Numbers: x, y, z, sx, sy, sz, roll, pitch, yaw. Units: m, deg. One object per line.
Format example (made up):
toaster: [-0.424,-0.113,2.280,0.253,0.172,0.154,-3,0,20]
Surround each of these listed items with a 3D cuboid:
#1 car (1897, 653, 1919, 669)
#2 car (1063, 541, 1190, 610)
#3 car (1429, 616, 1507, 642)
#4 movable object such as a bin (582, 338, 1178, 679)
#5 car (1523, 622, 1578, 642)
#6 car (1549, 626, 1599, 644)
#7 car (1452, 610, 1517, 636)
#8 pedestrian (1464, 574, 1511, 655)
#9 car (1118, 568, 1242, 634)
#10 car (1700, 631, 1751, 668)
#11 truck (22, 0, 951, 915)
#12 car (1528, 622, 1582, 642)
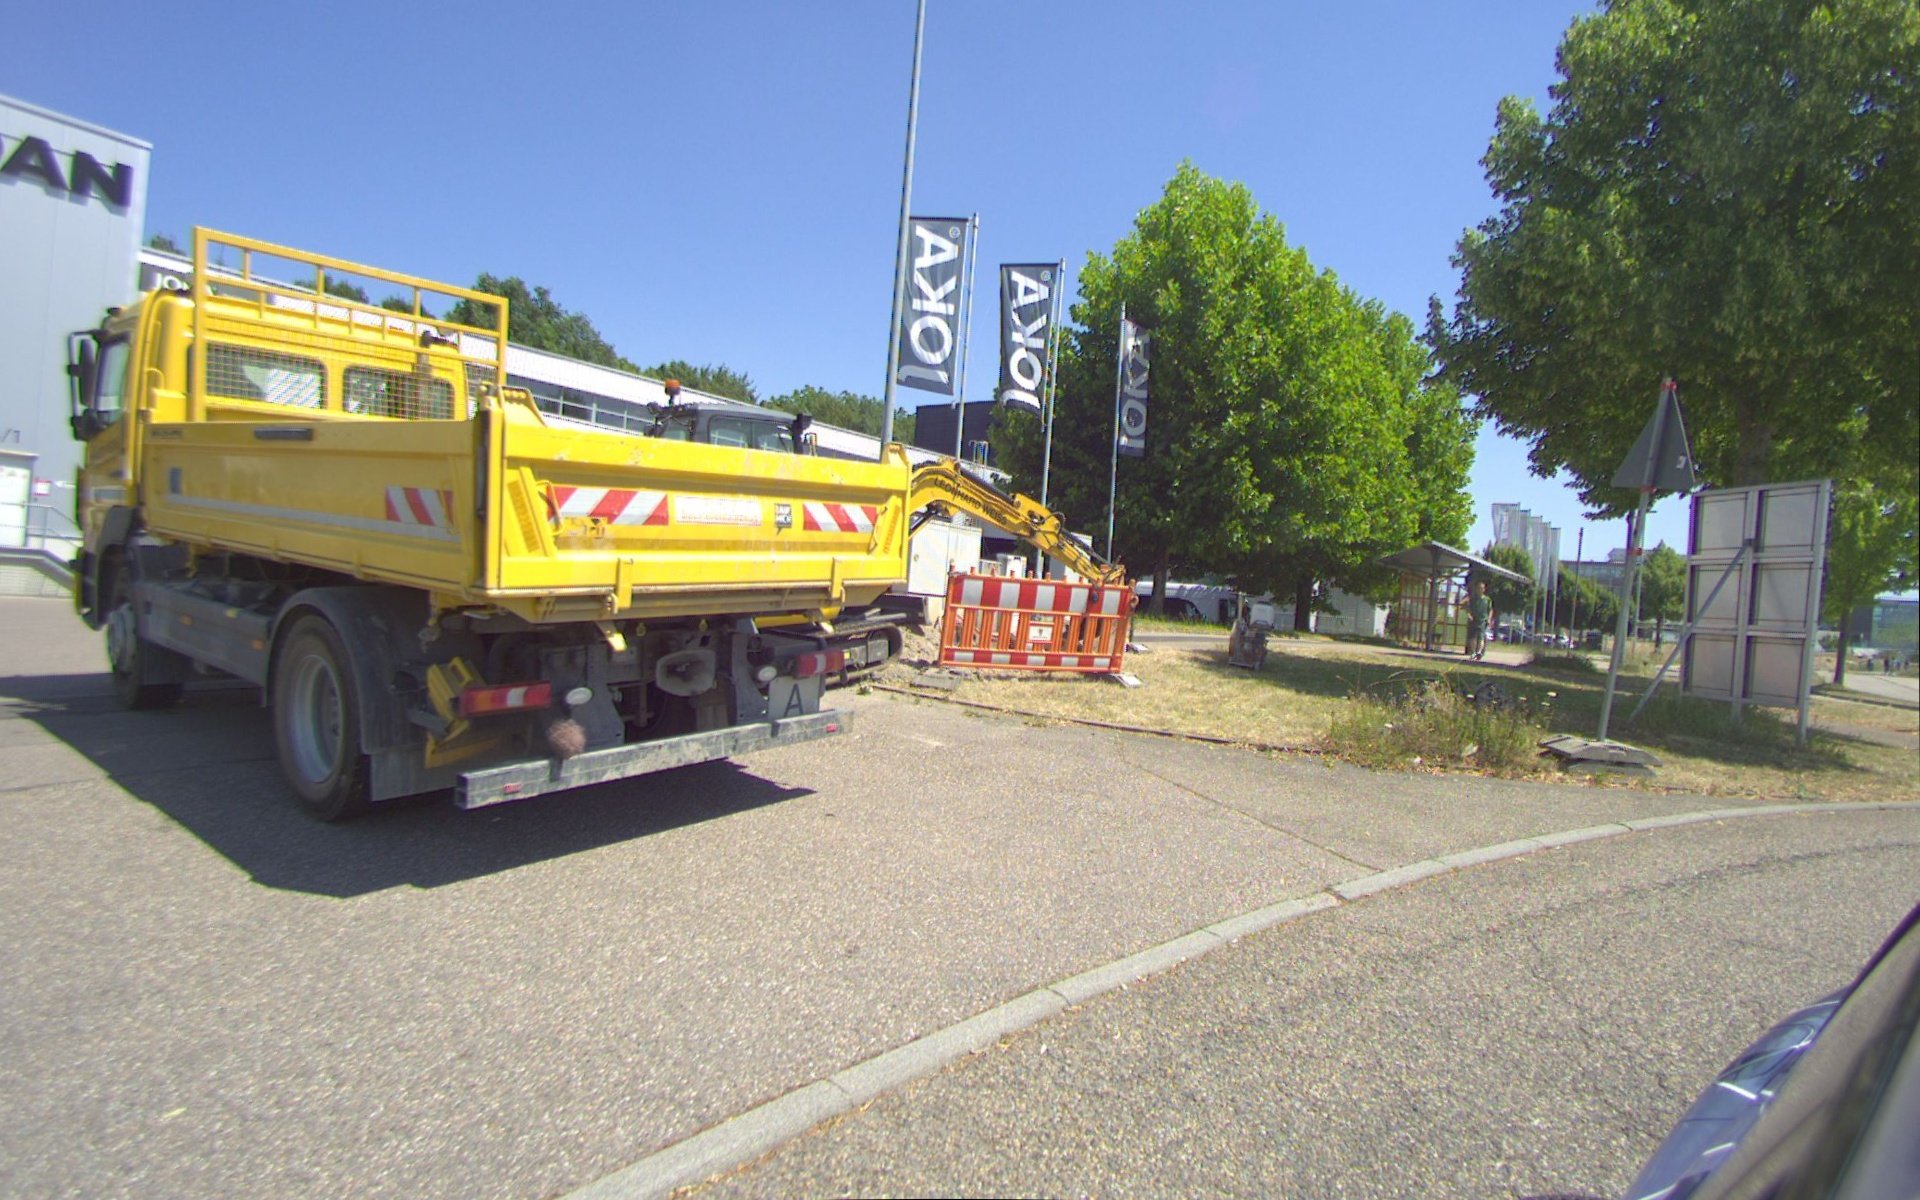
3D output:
car: [88.550,5.720,92.703,3.828,1.289,1.586,6,2,39]
car: [5.027,-0.689,30.201,1.835,1.749,3.939,6,2,42]
car: [33.014,1.868,65.775,4.258,1.197,1.472,5,-1,39]
movable object such as a bin: [-0.396,-0.731,10.761,1.996,2.612,6.470,6,3,45]
car: [51.597,2.790,88.450,3.876,1.289,1.681,6,2,39]
car: [57.996,3.287,95.578,3.828,1.289,1.586,6,2,39]
car: [36.286,1.589,70.008,3.651,1.342,1.632,5,-1,40]
pedestrian: [11.434,0.298,21.932,0.520,1.690,0.580,6,-2,-22]
car: [8.356,0.026,38.531,4.231,2.039,1.532,6,-1,30]
car: [39.103,2.539,51.690,1.675,1.523,3.516,5,-2,43]
truck: [-3.451,-0.817,6.428,6.392,3.173,2.561,7,5,37]
car: [53.181,2.846,90.451,3.876,1.289,1.681,7,3,39]
